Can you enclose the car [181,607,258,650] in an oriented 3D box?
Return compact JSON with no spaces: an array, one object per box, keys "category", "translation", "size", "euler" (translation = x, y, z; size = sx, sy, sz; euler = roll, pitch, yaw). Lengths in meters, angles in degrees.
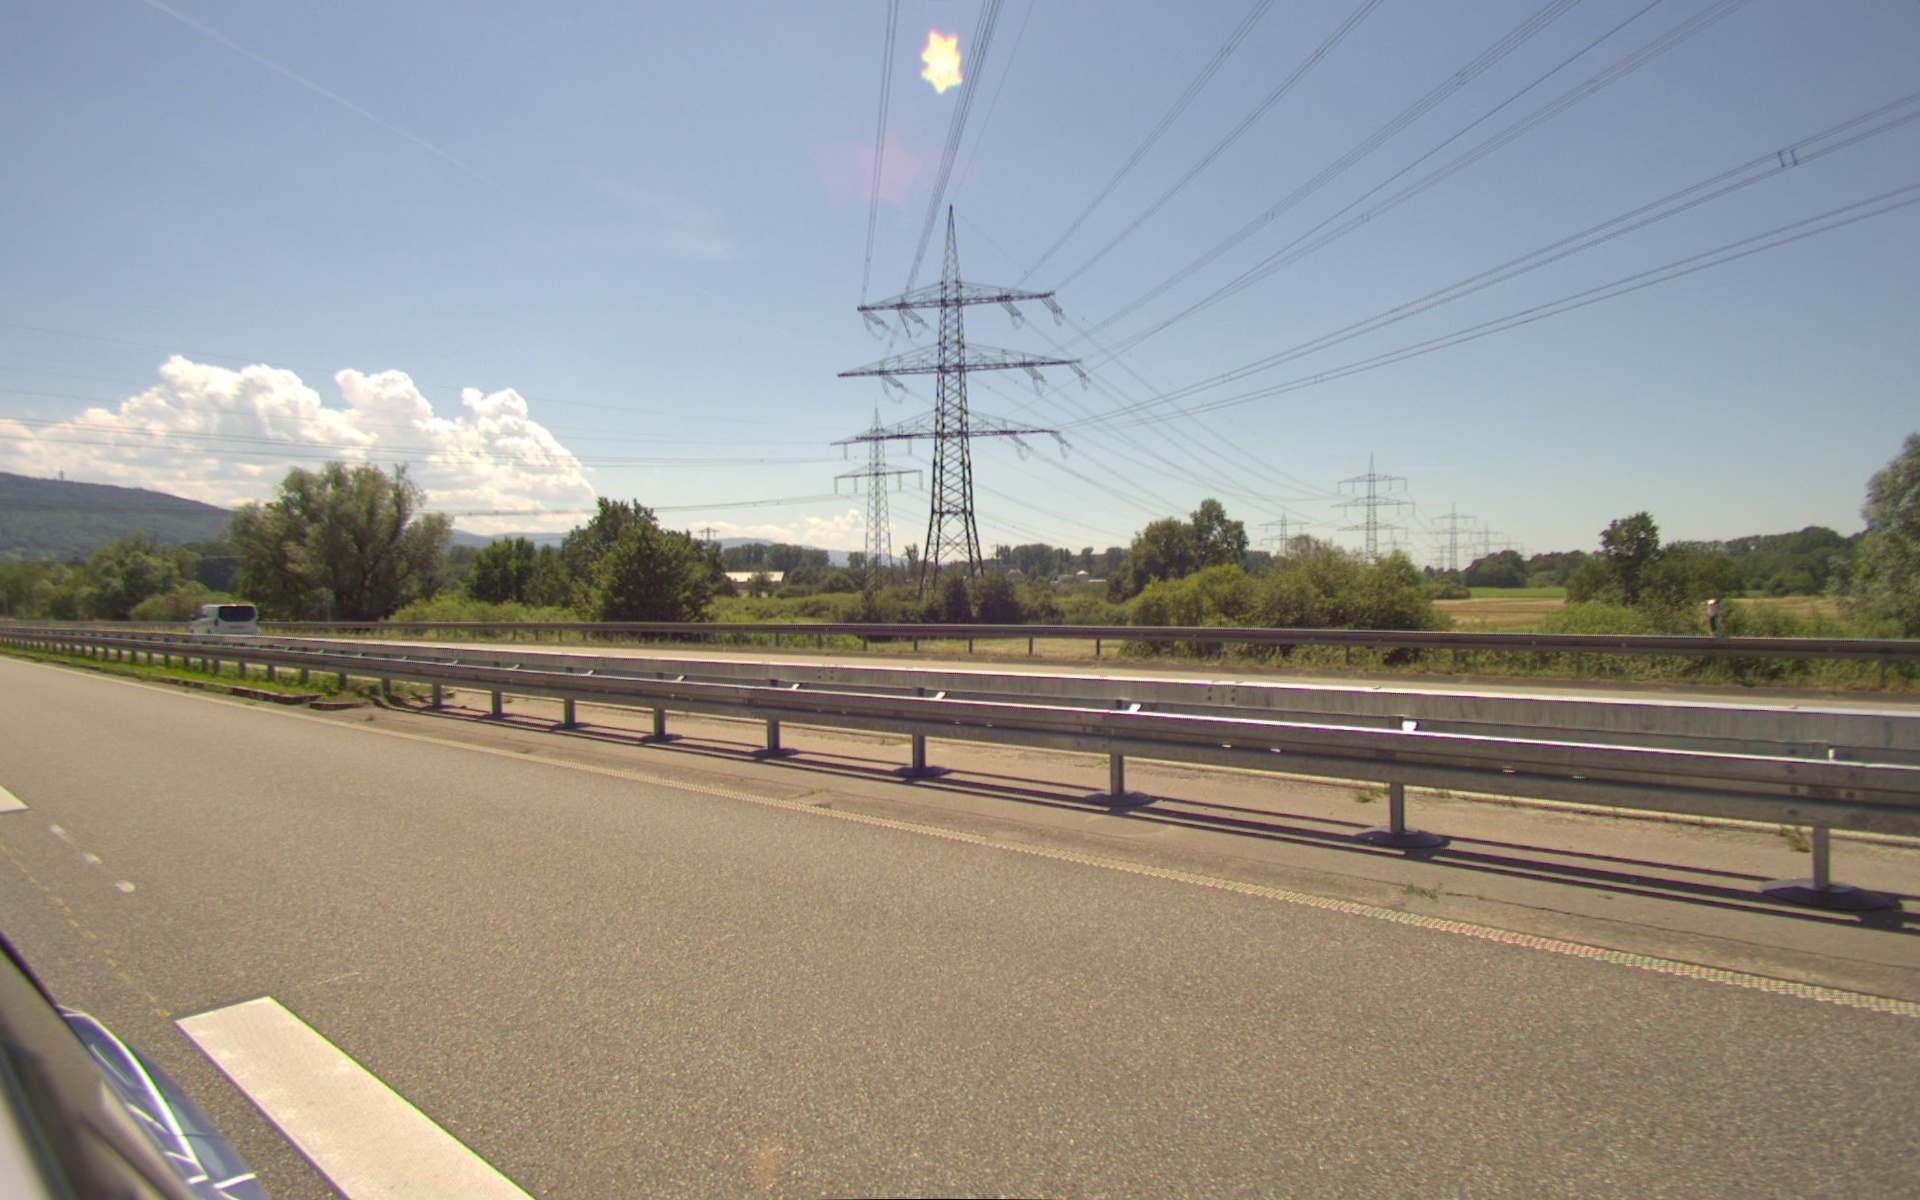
[{"category":"car","translation":[-36.553,1.359,49.898],"size":[5.528,2.007,1.872],"euler":[-1,-1,40]}]
